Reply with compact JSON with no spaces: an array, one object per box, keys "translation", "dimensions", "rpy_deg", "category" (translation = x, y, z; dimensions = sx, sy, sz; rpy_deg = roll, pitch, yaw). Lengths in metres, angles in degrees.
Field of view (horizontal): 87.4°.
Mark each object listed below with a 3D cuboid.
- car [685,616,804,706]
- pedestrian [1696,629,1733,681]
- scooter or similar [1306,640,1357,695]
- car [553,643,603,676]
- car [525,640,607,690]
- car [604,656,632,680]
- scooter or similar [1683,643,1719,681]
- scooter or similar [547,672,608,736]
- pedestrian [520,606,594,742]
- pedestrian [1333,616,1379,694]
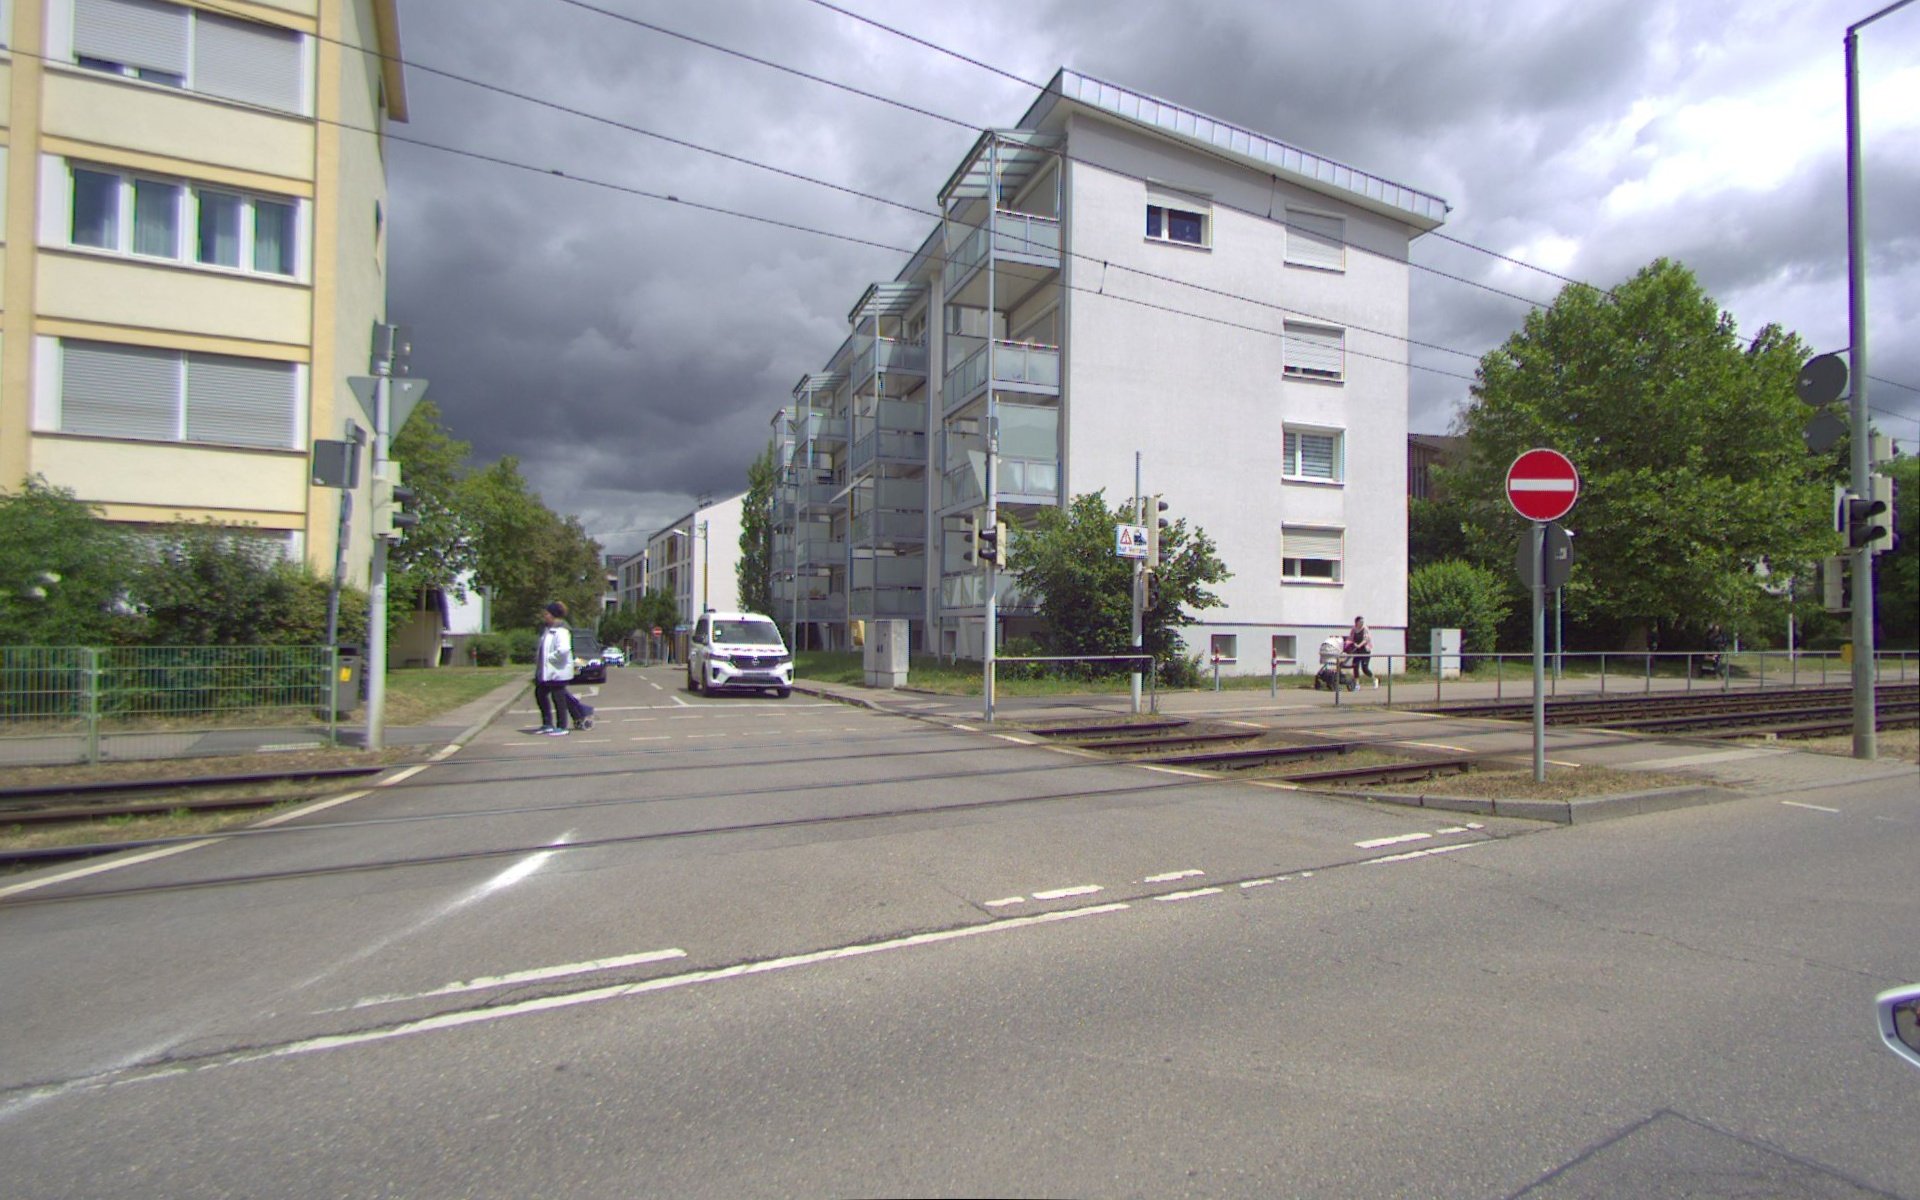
[{"translation":[-4.792,1.256,21.865],"dimensions":[1.784,1.752,4.269],"rpy_deg":[2,-2,-22],"category":"car"},{"translation":[23.434,1.700,31.199],"dimensions":[0.864,1.560,0.610],"rpy_deg":[2,-1,-30],"category":"pedestrian"},{"translation":[8.142,1.470,22.013],"dimensions":[0.881,1.178,0.605],"rpy_deg":[2,-1,-29],"category":"scooter or similar"},{"translation":[-17.046,2.615,44.697],"dimensions":[1.895,1.312,3.977],"rpy_deg":[2,-2,-23],"category":"car"},{"translation":[-10.765,1.728,27.312],"dimensions":[1.895,1.186,3.977],"rpy_deg":[2,-2,-23],"category":"car"},{"translation":[-26.823,5.312,78.717],"dimensions":[1.970,1.799,3.982],"rpy_deg":[2,-3,-20],"category":"car"},{"translation":[22.697,1.880,30.759],"dimensions":[0.811,1.130,0.601],"rpy_deg":[2,-1,-30],"category":"scooter or similar"},{"translation":[-5.000,1.349,13.121],"dimensions":[0.658,0.784,0.530],"rpy_deg":[2,-2,-30],"category":"scooter or similar"},{"translation":[-5.040,0.910,12.564],"dimensions":[0.765,1.628,0.601],"rpy_deg":[2,-2,-30],"category":"pedestrian"},{"translation":[8.824,1.215,22.394],"dimensions":[0.671,1.715,0.642],"rpy_deg":[2,-1,-28],"category":"pedestrian"}]
